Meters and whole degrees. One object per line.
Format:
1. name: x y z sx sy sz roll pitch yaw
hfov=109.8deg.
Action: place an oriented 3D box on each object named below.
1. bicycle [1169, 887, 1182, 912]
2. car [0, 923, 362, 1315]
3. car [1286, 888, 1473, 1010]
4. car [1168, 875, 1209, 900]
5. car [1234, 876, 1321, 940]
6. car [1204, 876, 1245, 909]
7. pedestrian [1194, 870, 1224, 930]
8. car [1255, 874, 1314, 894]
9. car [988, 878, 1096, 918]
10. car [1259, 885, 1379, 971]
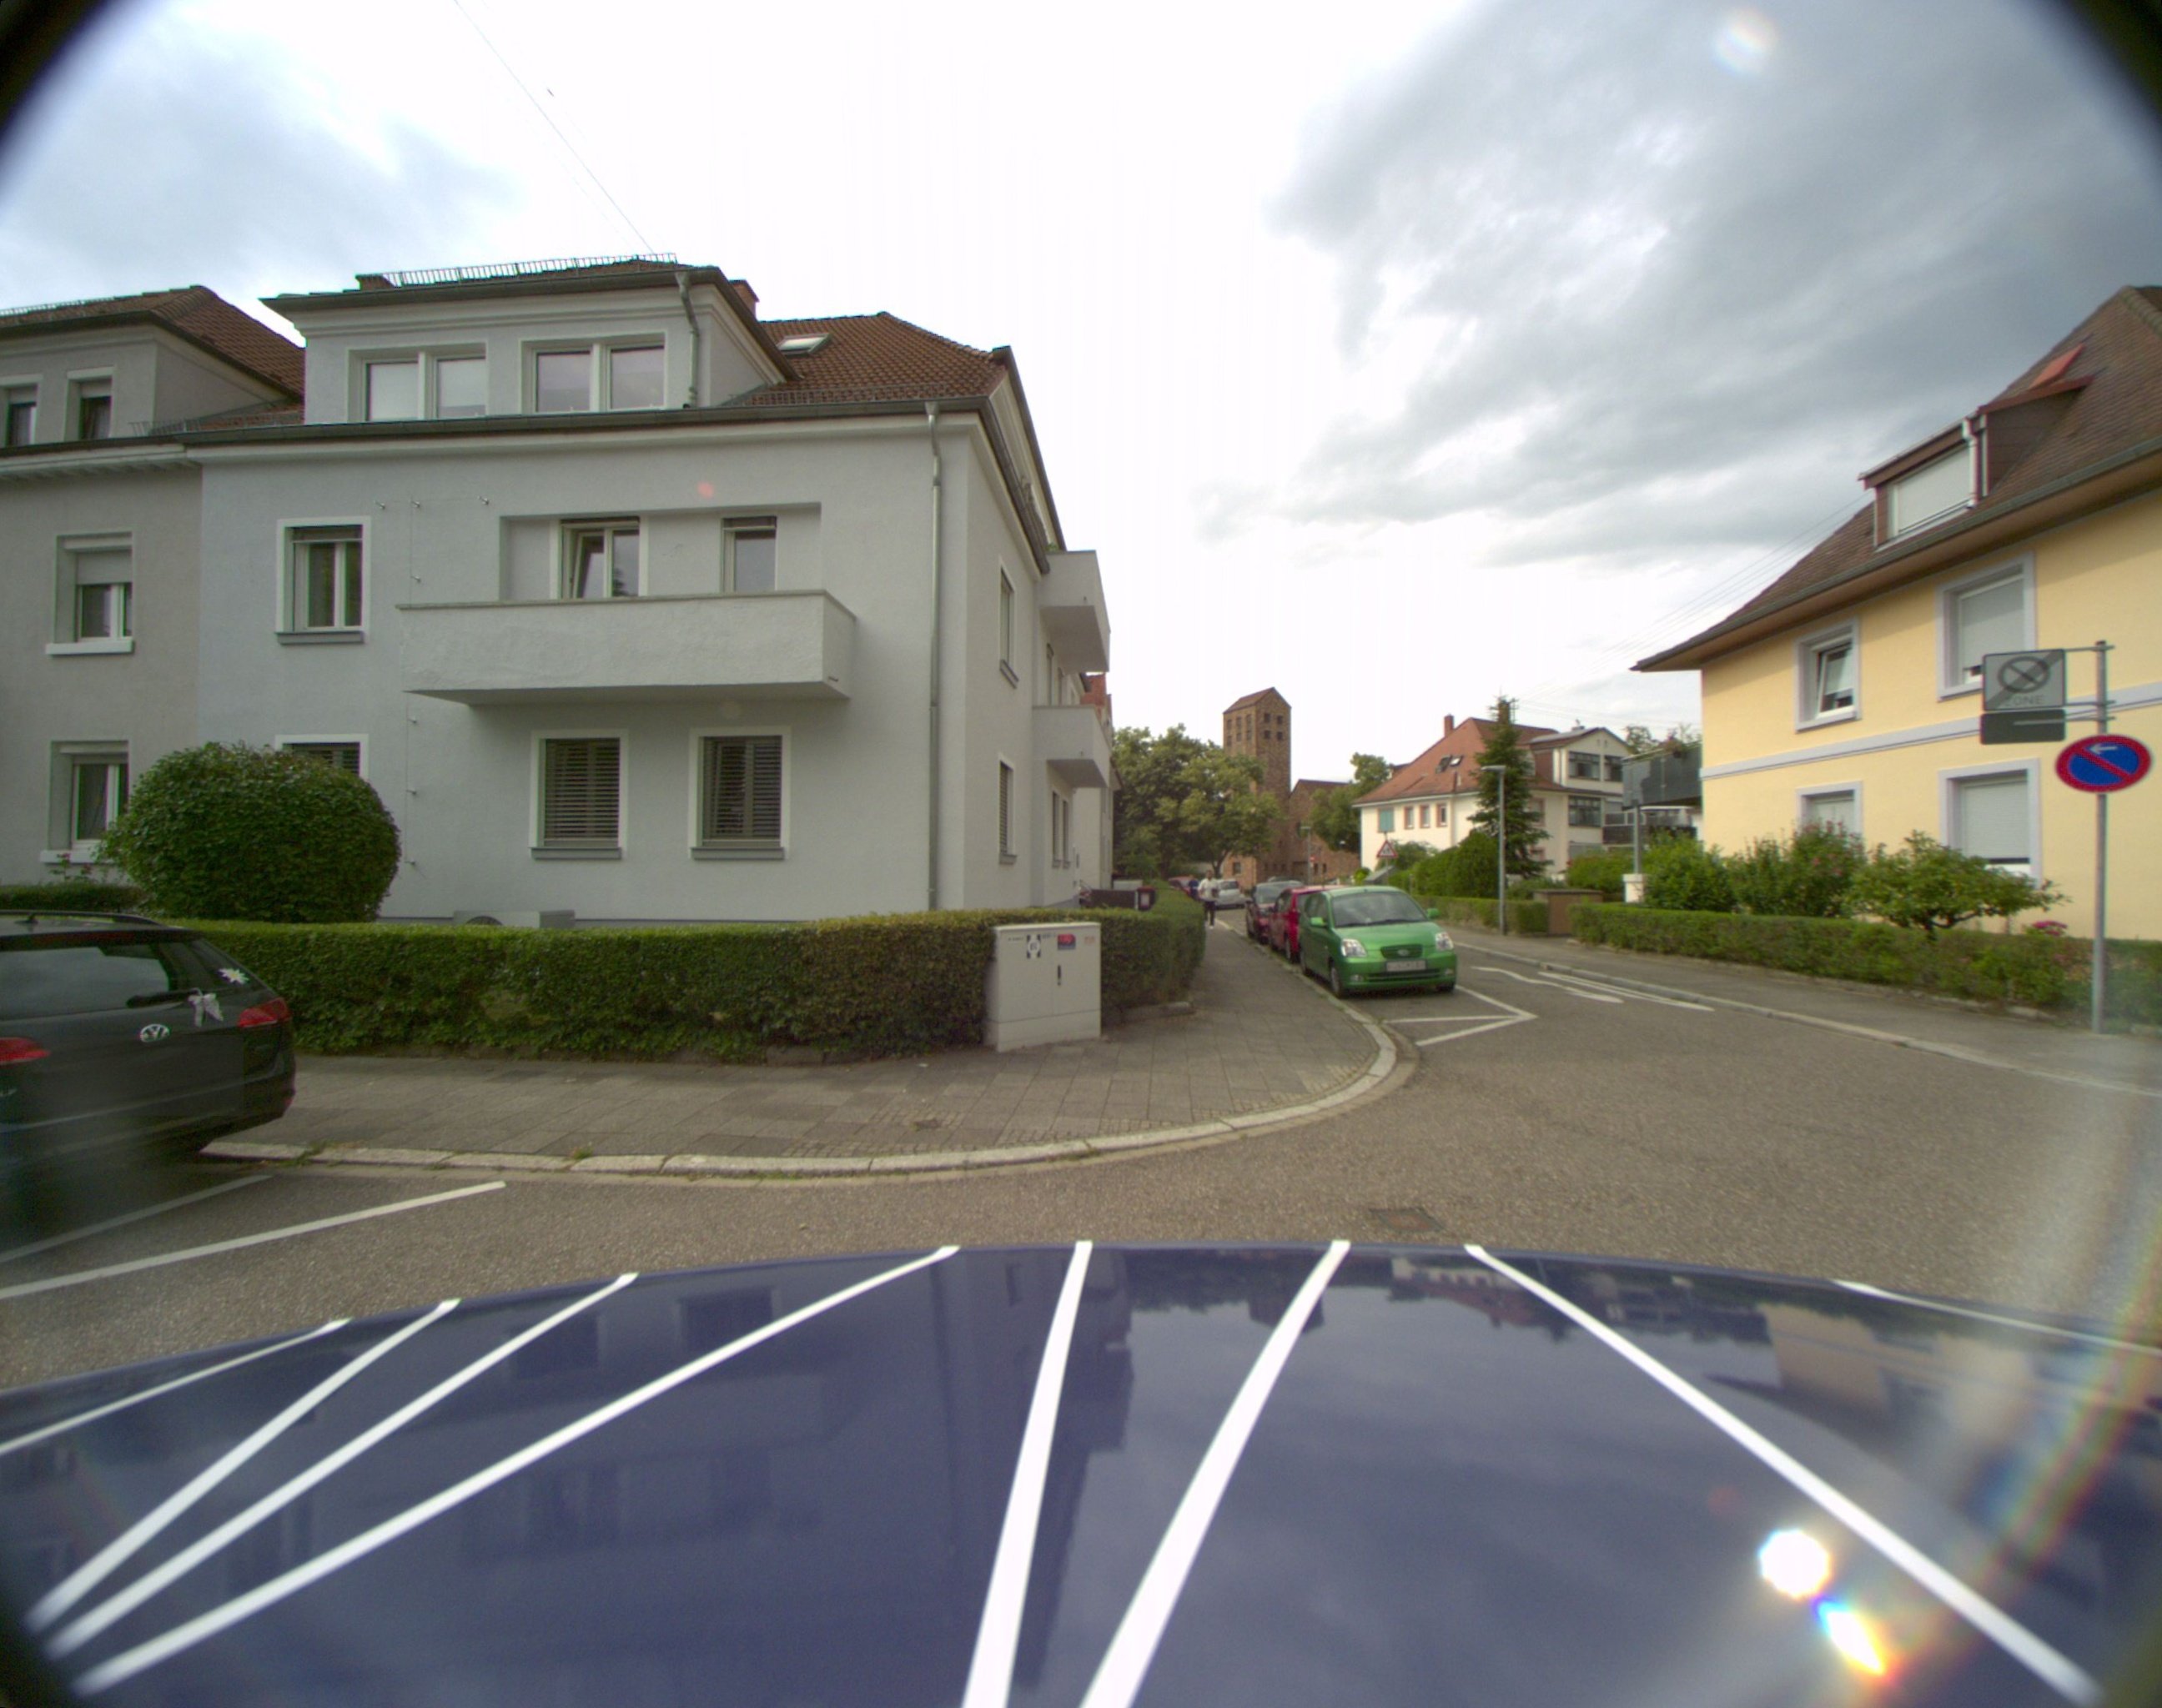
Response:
1. bicycle: 4.374 2.110 35.346 0.423 1.097 2.116 0 -1 2
2. car: -6.430 1.135 3.697 4.171 1.462 1.860 0 -1 3
3. car: 4.297 1.304 11.501 1.649 1.413 3.483 -3 -1 5
4. car: 6.758 2.110 48.164 1.651 1.486 3.480 -3 -1 -7
5. car: 5.168 1.381 20.394 1.649 1.486 3.483 -3 -1 5
6. car: 7.283 1.932 38.716 1.649 1.486 3.483 -3 -1 5
7. pedestrian: 4.028 1.426 23.983 0.883 1.867 1.079 0 -1 6
8. car: 15.884 2.310 59.350 4.222 1.455 1.685 0 1 5
9. car: -1.478 1.715 30.110 3.995 1.455 2.001 0 -1 6
10. car: 4.885 1.464 16.058 1.649 1.486 3.483 -3 -1 5
